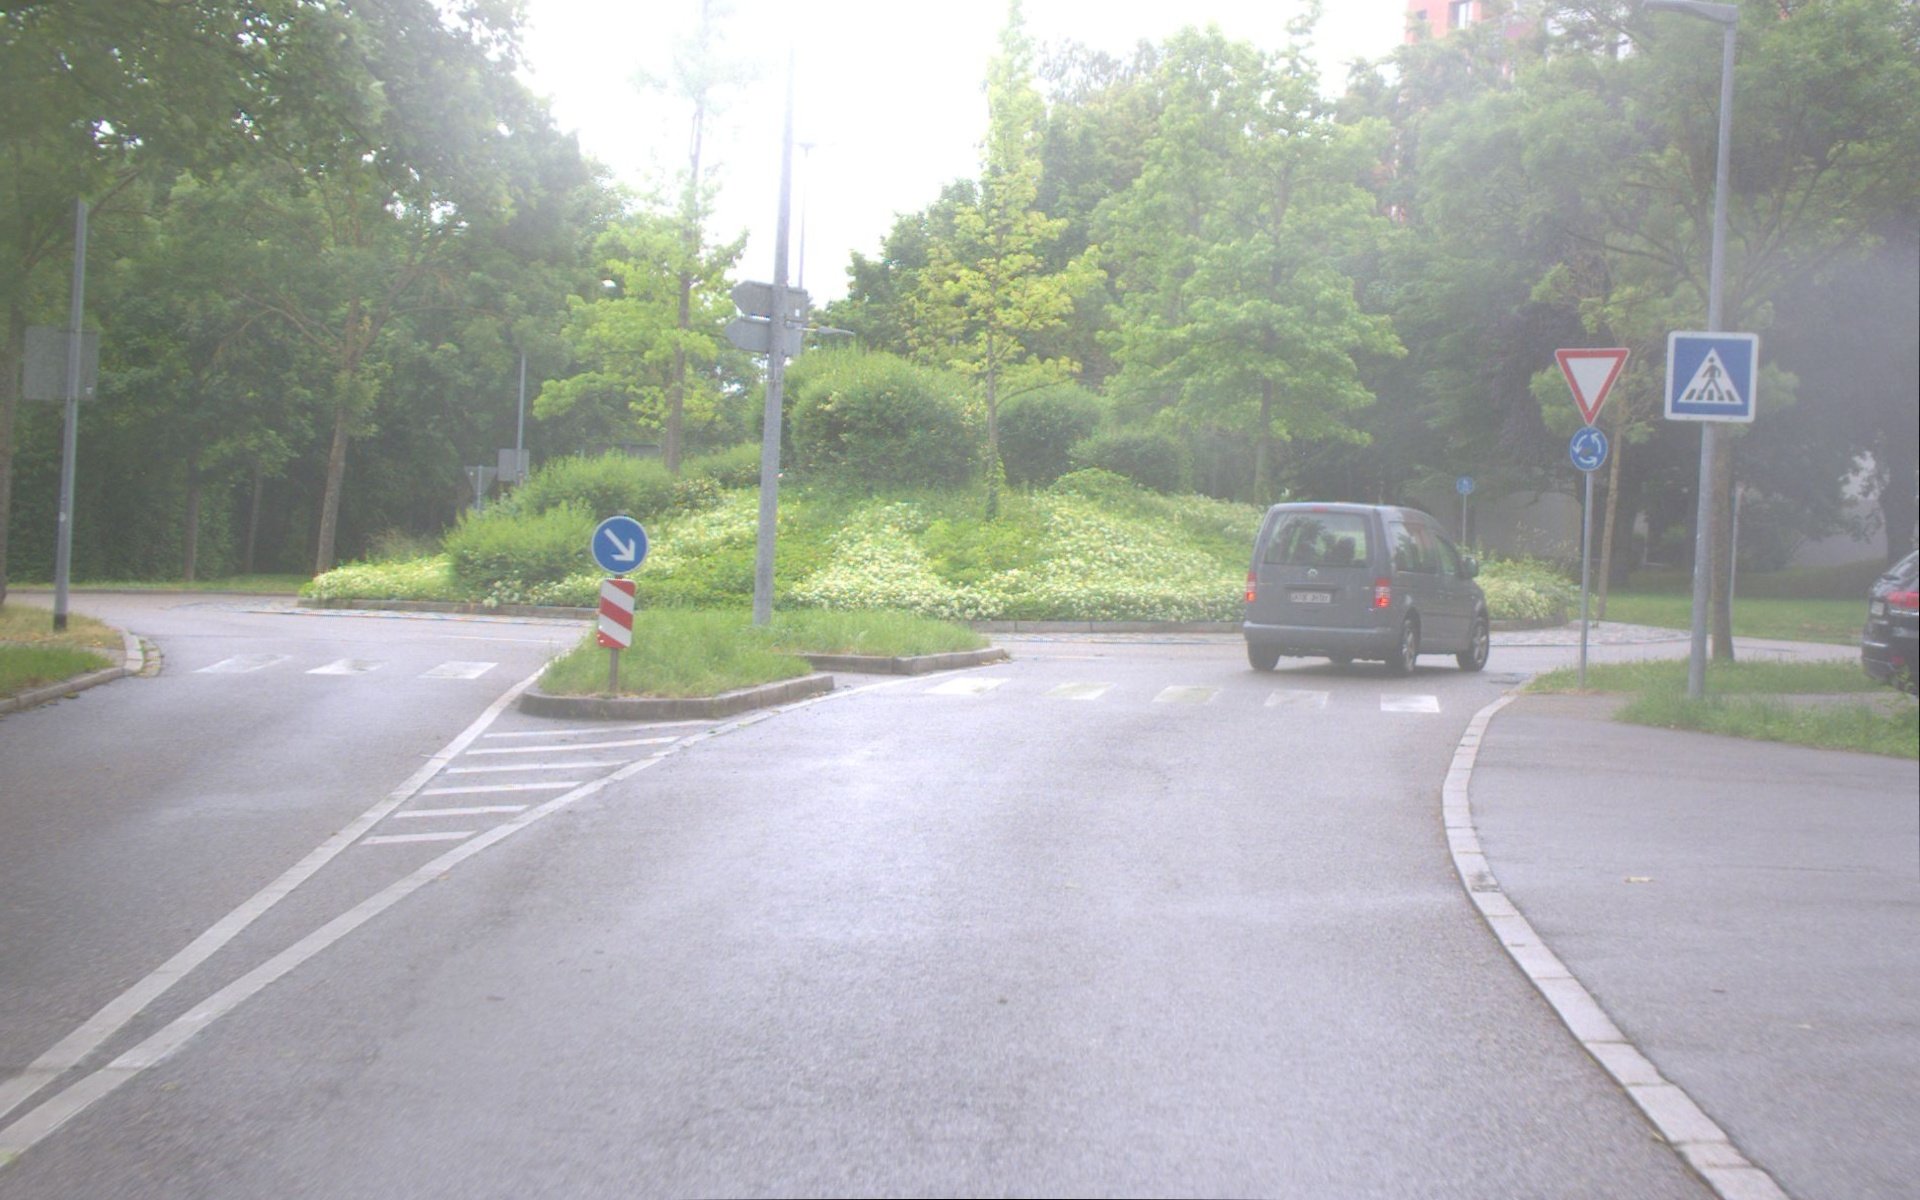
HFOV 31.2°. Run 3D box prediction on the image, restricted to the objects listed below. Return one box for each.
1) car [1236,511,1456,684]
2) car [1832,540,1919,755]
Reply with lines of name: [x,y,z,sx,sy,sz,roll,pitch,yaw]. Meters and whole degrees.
car: [4.277,-0.025,37.625,1.919,1.795,3.787,0,0,14]
car: [10.101,0.519,30.139,4.378,1.753,1.829,4,3,3]
